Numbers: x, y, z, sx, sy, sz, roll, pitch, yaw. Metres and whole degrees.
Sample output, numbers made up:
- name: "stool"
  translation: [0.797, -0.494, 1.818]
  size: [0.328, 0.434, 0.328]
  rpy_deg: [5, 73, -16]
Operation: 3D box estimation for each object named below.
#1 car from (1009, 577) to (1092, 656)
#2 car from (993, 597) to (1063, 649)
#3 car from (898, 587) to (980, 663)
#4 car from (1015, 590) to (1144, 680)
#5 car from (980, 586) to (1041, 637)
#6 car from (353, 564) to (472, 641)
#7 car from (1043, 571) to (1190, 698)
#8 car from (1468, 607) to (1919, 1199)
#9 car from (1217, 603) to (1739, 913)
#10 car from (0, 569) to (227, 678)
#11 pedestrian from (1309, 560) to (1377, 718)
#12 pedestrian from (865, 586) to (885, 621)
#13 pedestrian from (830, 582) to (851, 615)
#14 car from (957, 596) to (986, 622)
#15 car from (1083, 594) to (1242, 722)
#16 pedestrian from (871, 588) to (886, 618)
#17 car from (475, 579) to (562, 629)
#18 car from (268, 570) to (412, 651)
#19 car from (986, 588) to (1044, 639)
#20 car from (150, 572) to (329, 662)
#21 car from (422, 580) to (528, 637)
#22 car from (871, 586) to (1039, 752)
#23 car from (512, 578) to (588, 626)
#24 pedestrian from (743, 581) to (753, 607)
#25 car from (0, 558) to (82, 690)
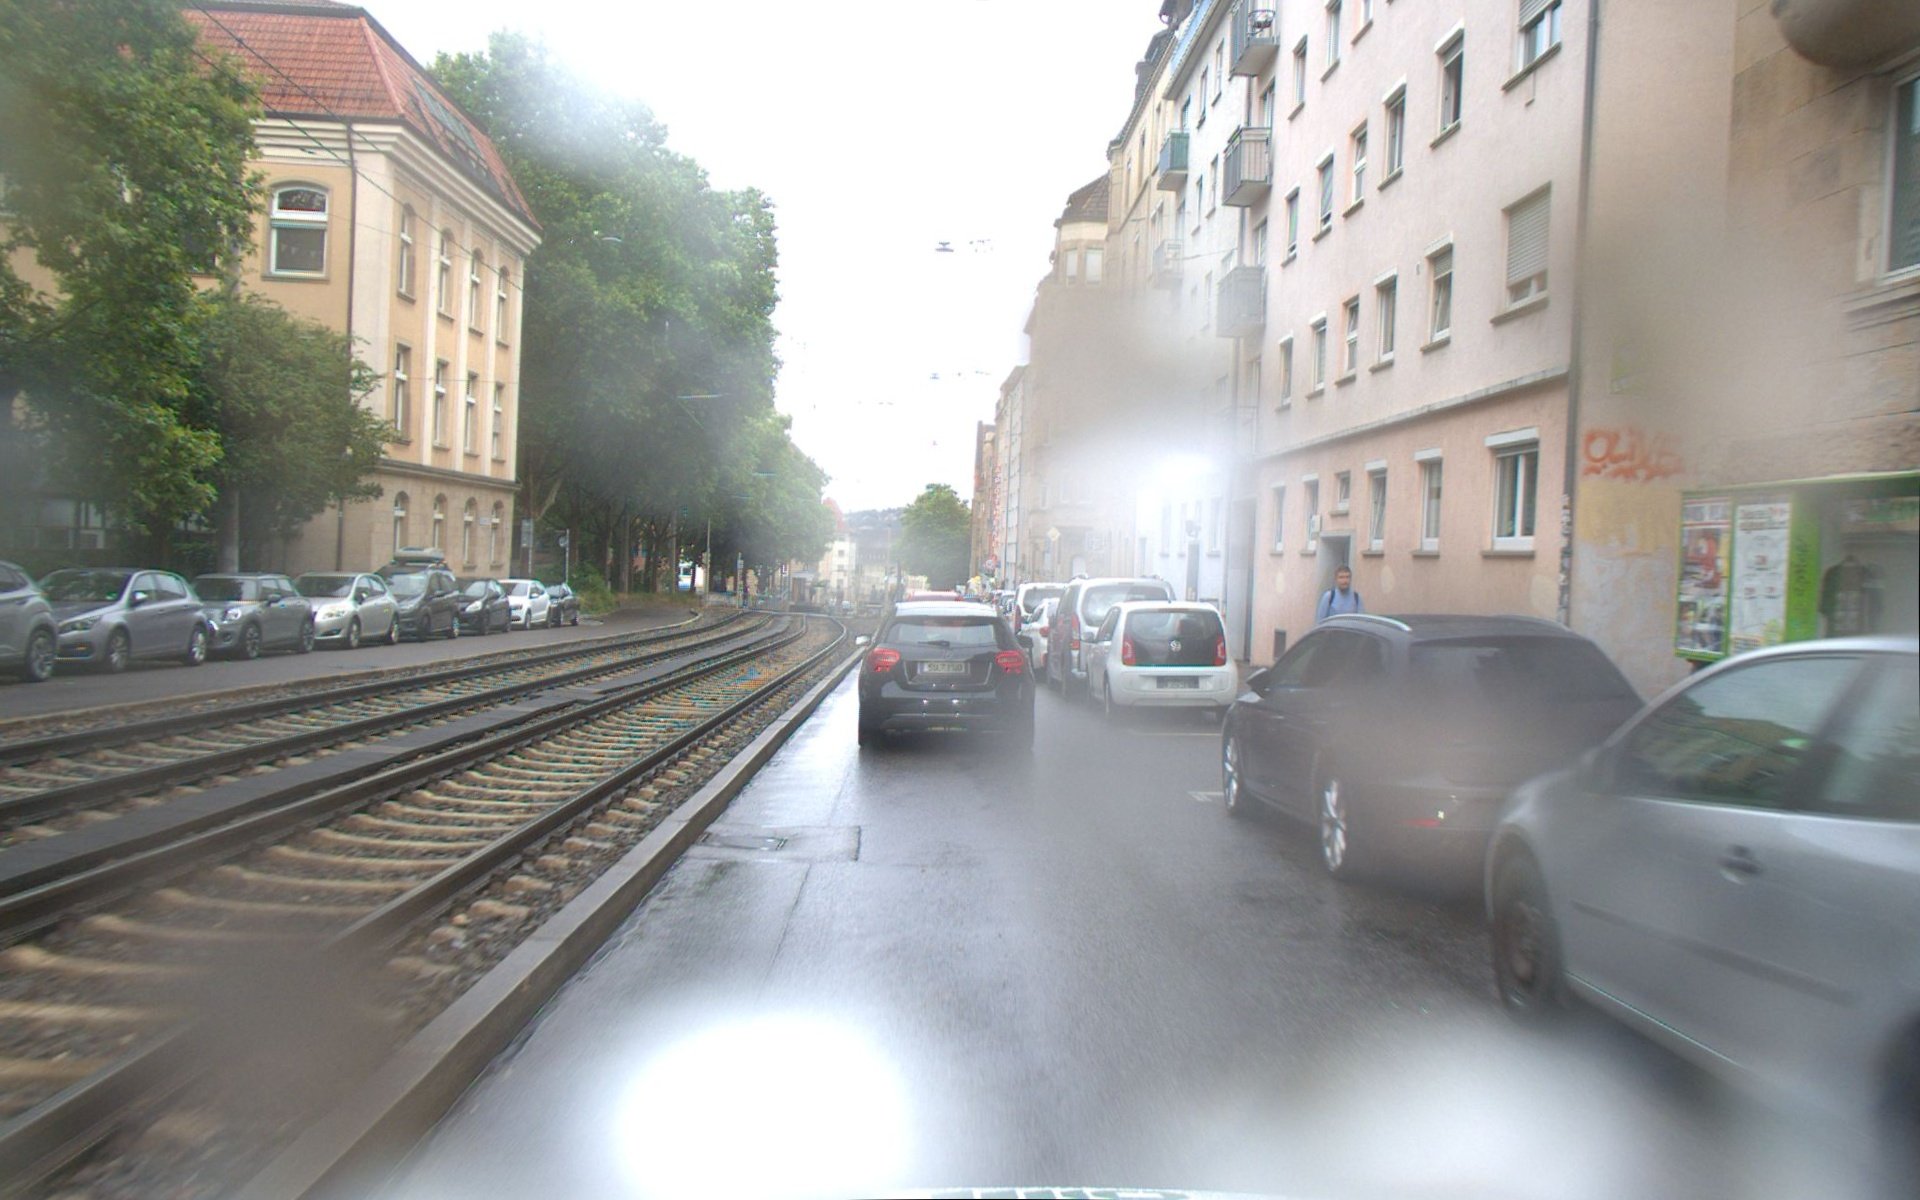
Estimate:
- name: "car"
  translation: [2.150, 0.360, 40.395]
  size: [1.791, 1.781, 4.467]
  rpy_deg: [1, 0, 0]
- name: "car"
  translation: [1.949, 0.639, 48.446]
  size: [1.683, 1.370, 4.460]
  rpy_deg: [2, 0, -2]
- name: "car"
  translation: [-0.488, 0.524, 37.589]
  size: [1.749, 1.609, 3.999]
  rpy_deg: [1, 0, -1]
- name: "car"
  translation: [2.112, 0.583, 30.558]
  size: [1.834, 1.481, 4.901]
  rpy_deg: [1, 1, -2]
- name: "car"
  translation: [1.763, 0.368, 59.109]
  size: [1.731, 1.697, 4.329]
  rpy_deg: [2, 0, -3]
- name: "car"
  translation: [-12.687, 0.039, 38.557]
  size: [1.545, 1.672, 4.070]
  rpy_deg: [-1, 0, -2]
- name: "car"
  translation: [2.328, 0.483, 25.576]
  size: [1.755, 1.796, 4.210]
  rpy_deg: [0, 0, -2]
- name: "car"
  translation: [2.928, 0.772, 4.670]
  size: [1.634, 1.459, 3.954]
  rpy_deg: [0, 0, -2]
- name: "car"
  translation: [2.817, 0.761, 10.048]
  size: [1.636, 1.434, 4.309]
  rpy_deg: [1, 0, -3]
- name: "car"
  translation: [-12.394, 0.300, 24.044]
  size: [1.719, 1.438, 4.152]
  rpy_deg: [-1, 0, -2]
- name: "pedestrian"
  translation: [4.457, 0.443, 19.271]
  size: [0.595, 1.794, 0.688]
  rpy_deg: [-1, 0, -2]
- name: "pedestrian"
  translation: [-4.986, 0.206, 96.476]
  size: [1.115, 2.033, 1.171]
  rpy_deg: [0, 0, -5]
- name: "pedestrian"
  translation: [-6.603, -0.092, 91.135]
  size: [1.033, 1.748, 0.904]
  rpy_deg: [2, 0, 0]
- name: "car"
  translation: [0.719, 0.585, 107.564]
  size: [1.790, 1.646, 3.863]
  rpy_deg: [0, 1, -1]
- name: "car"
  translation: [2.520, 0.675, 21.258]
  size: [1.538, 1.487, 3.599]
  rpy_deg: [1, 0, -1]
- name: "pedestrian"
  translation: [-4.552, 0.172, 91.917]
  size: [0.789, 1.662, 0.892]
  rpy_deg: [0, 0, -1]
- name: "car"
  translation: [-12.951, 0.101, 48.732]
  size: [1.469, 1.415, 3.987]
  rpy_deg: [-1, 0, 0]
- name: "car"
  translation: [-12.605, 0.190, 33.872]
  size: [1.508, 1.531, 4.153]
  rpy_deg: [-1, 0, -2]
- name: "car"
  translation: [1.737, 0.415, 53.558]
  size: [1.659, 1.556, 3.999]
  rpy_deg: [1, 0, -1]
- name: "car"
  translation: [-12.507, 0.264, 28.946]
  size: [1.508, 1.438, 3.951]
  rpy_deg: [-1, 0, -2]
- name: "car"
  translation: [-12.920, 0.216, 44.280]
  size: [1.640, 1.438, 4.010]
  rpy_deg: [-1, 0, 0]
- name: "car"
  translation: [-0.094, 0.637, 17.283]
  size: [1.548, 1.531, 3.573]
  rpy_deg: [1, 0, -2]
- name: "car"
  translation: [-13.220, 0.036, 53.480]
  size: [1.582, 1.454, 3.851]
  rpy_deg: [1, 1, -2]
- name: "pedestrian"
  translation: [-14.611, -0.412, 114.087]
  size: [0.523, 1.784, 0.607]
  rpy_deg: [3, 0, -1]
- name: "car"
  translation: [-12.180, 0.293, 19.147]
  size: [1.719, 1.563, 4.541]
  rpy_deg: [-1, 0, -2]
